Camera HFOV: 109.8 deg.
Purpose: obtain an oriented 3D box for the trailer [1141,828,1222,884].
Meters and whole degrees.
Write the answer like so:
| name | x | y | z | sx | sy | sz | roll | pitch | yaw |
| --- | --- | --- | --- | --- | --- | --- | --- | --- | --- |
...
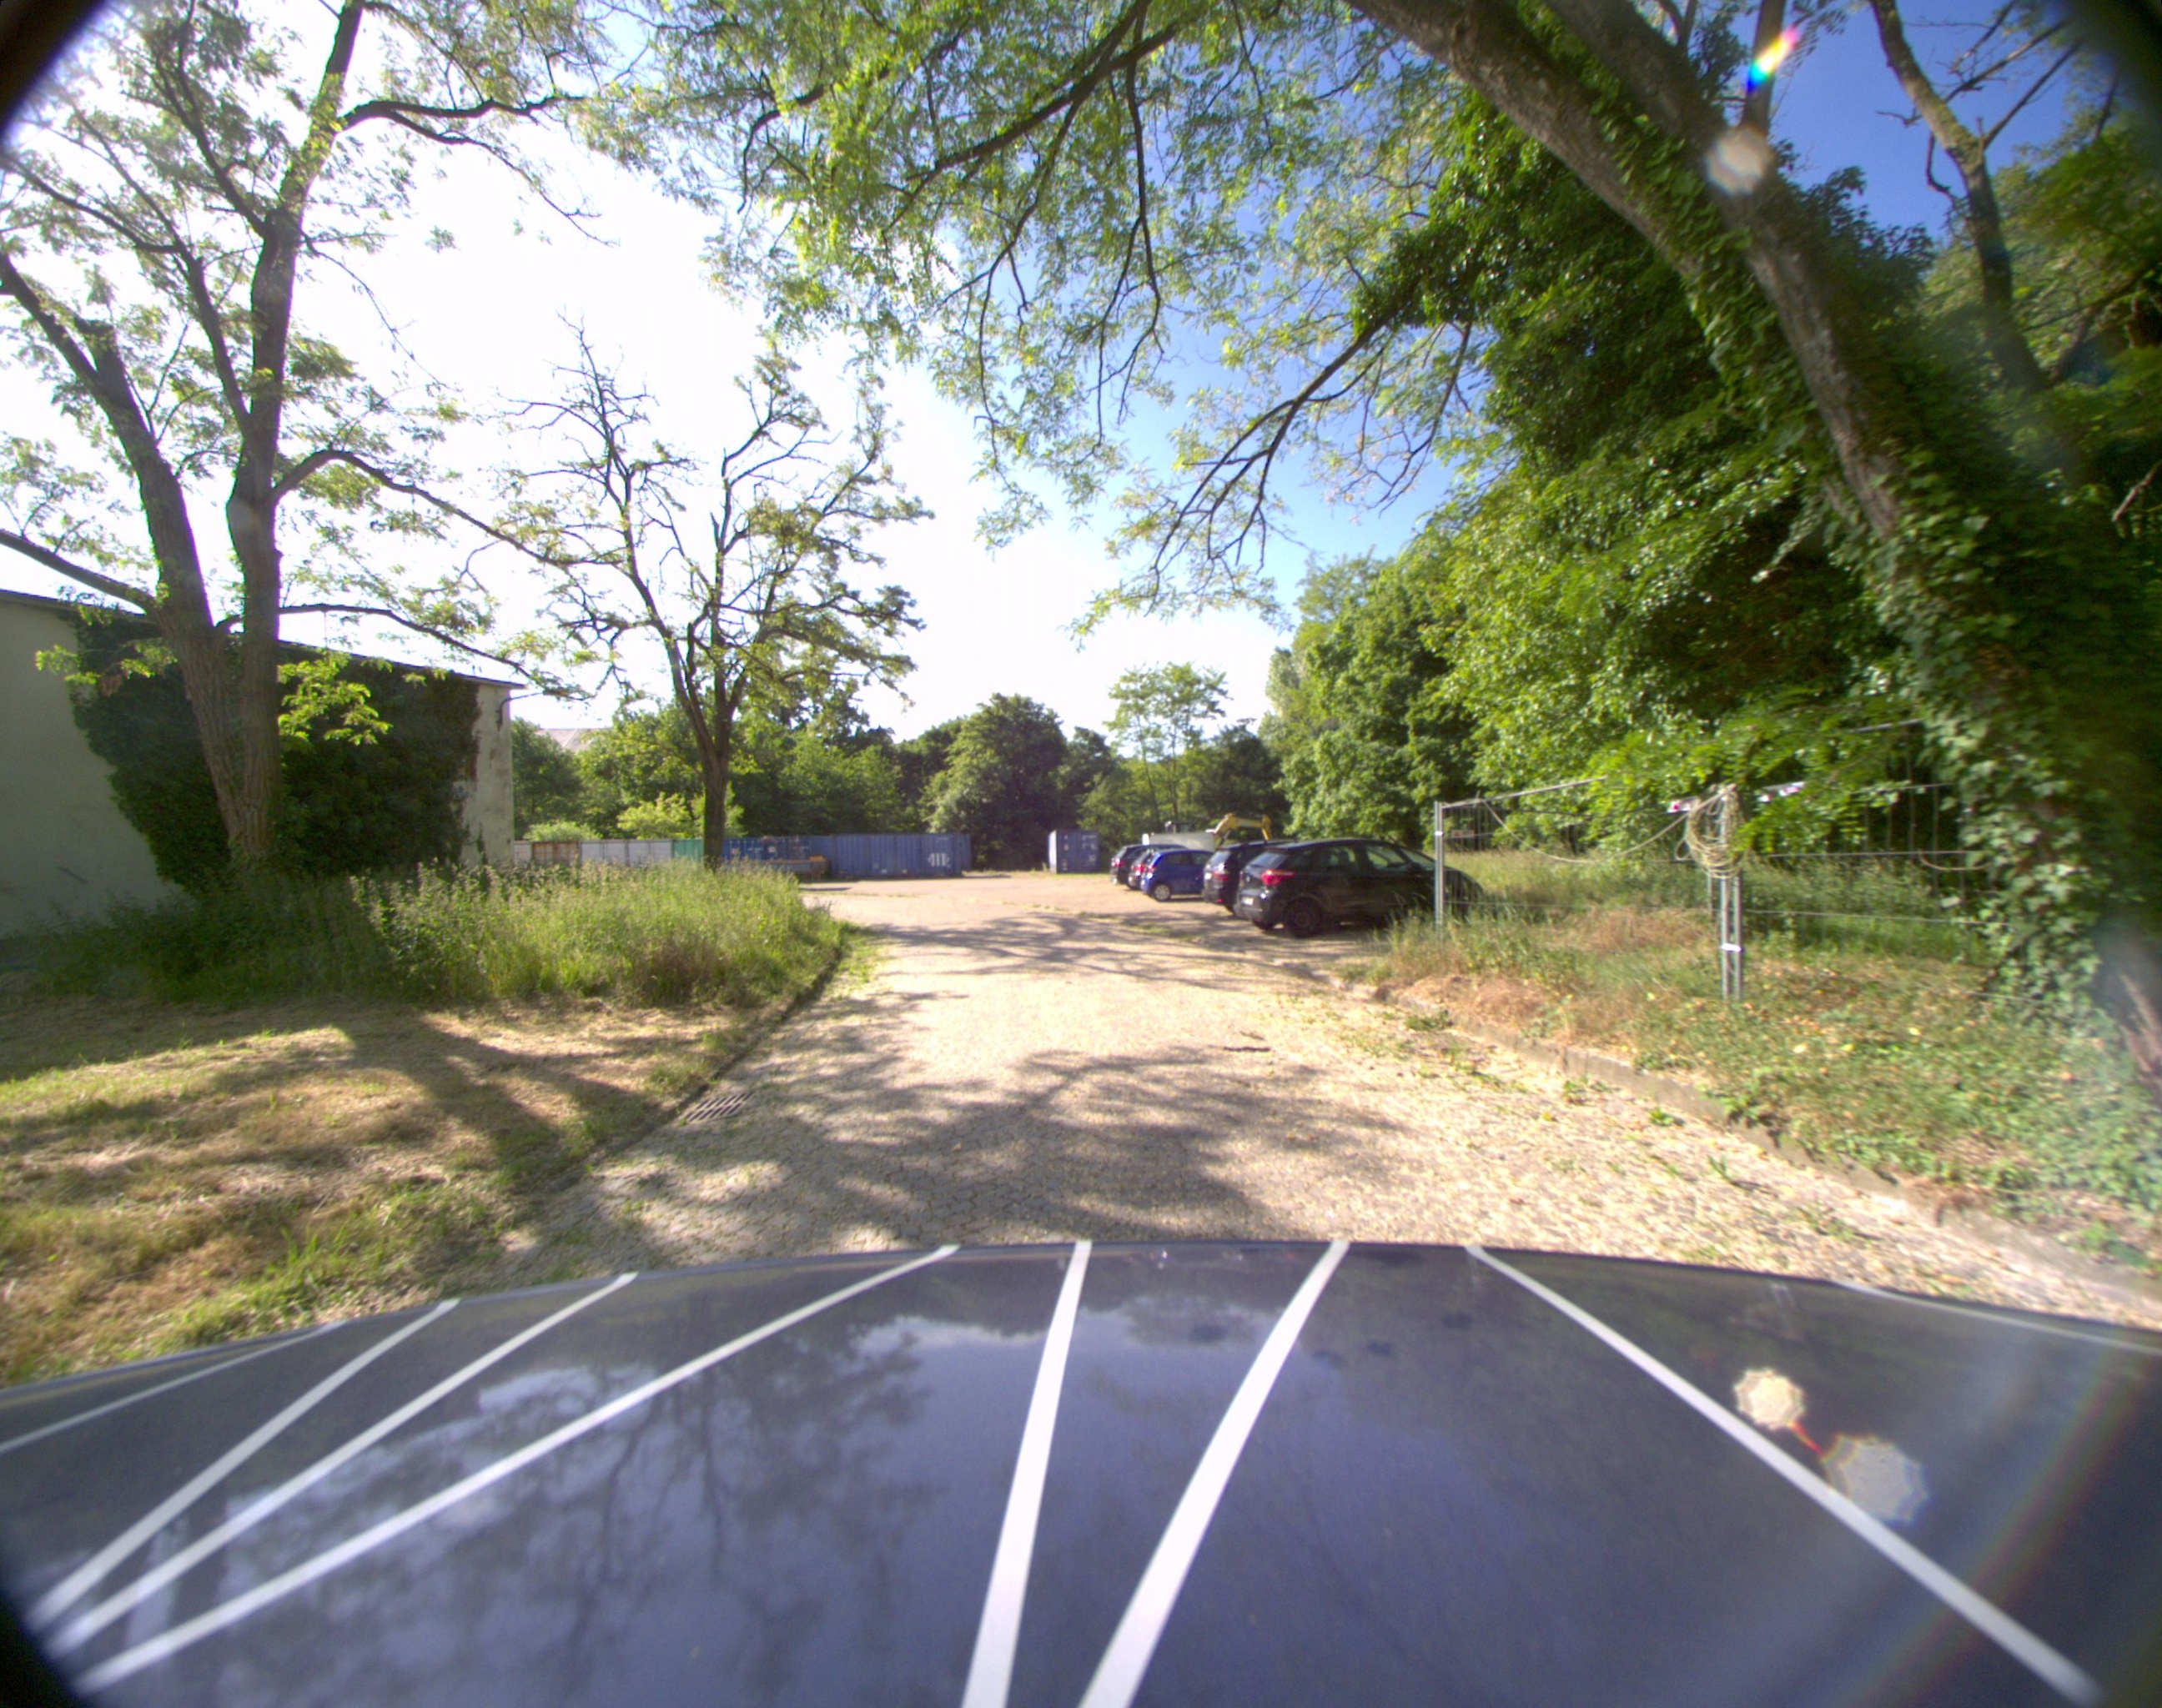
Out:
| name | x | y | z | sx | sy | sz | roll | pitch | yaw |
| --- | --- | --- | --- | --- | --- | --- | --- | --- | --- |
| trailer | 3.968 | 0.056 | 30.241 | 2.848 | 2.039 | 1.823 | -2 | 2 | -3 |

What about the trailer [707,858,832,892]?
| name | x | y | z | sx | sy | sz | roll | pitch | yaw |
| --- | --- | --- | --- | --- | --- | --- | --- | --- | --- |
| trailer | -14.631 | 0.984 | 36.042 | 4.860 | 1.406 | 2.647 | -1 | 1 | -4 |

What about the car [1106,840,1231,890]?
| name | x | y | z | sx | sy | sz | roll | pitch | yaw |
| --- | --- | --- | --- | --- | --- | --- | --- | --- | --- |
| car | 3.100 | 0.364 | 27.400 | 4.129 | 1.581 | 1.969 | -2 | 2 | -4 |

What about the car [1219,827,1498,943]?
| name | x | y | z | sx | sy | sz | roll | pitch | yaw |
| --- | --- | --- | --- | --- | --- | --- | --- | --- | --- |
| car | 4.900 | 0.501 | 13.704 | 4.272 | 1.580 | 1.828 | -5 | 1 | -9 |

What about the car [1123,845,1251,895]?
| name | x | y | z | sx | sy | sz | roll | pitch | yaw |
| --- | --- | --- | --- | --- | --- | --- | --- | --- | --- |
| car | 3.406 | 0.487 | 24.876 | 3.788 | 1.403 | 1.894 | -2 | 2 | -4 |

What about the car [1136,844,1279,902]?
| name | x | y | z | sx | sy | sz | roll | pitch | yaw |
| --- | --- | --- | --- | --- | --- | --- | --- | --- | --- |
| car | 3.635 | 0.522 | 22.238 | 3.788 | 1.450 | 1.785 | -3 | 2 | -3 |

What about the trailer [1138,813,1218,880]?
| name | x | y | z | sx | sy | sz | roll | pitch | yaw |
| --- | --- | --- | --- | --- | --- | --- | --- | --- | --- |
| trailer | 4.102 | -0.346 | 32.467 | 2.848 | 2.524 | 2.265 | -5 | 2 | -2 |

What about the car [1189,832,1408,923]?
| name | x | y | z | sx | sy | sz | roll | pitch | yaw |
| --- | --- | --- | --- | --- | --- | --- | --- | --- | --- |
| car | 4.795 | 0.461 | 17.050 | 4.272 | 1.622 | 1.879 | -4 | 2 | -8 |
